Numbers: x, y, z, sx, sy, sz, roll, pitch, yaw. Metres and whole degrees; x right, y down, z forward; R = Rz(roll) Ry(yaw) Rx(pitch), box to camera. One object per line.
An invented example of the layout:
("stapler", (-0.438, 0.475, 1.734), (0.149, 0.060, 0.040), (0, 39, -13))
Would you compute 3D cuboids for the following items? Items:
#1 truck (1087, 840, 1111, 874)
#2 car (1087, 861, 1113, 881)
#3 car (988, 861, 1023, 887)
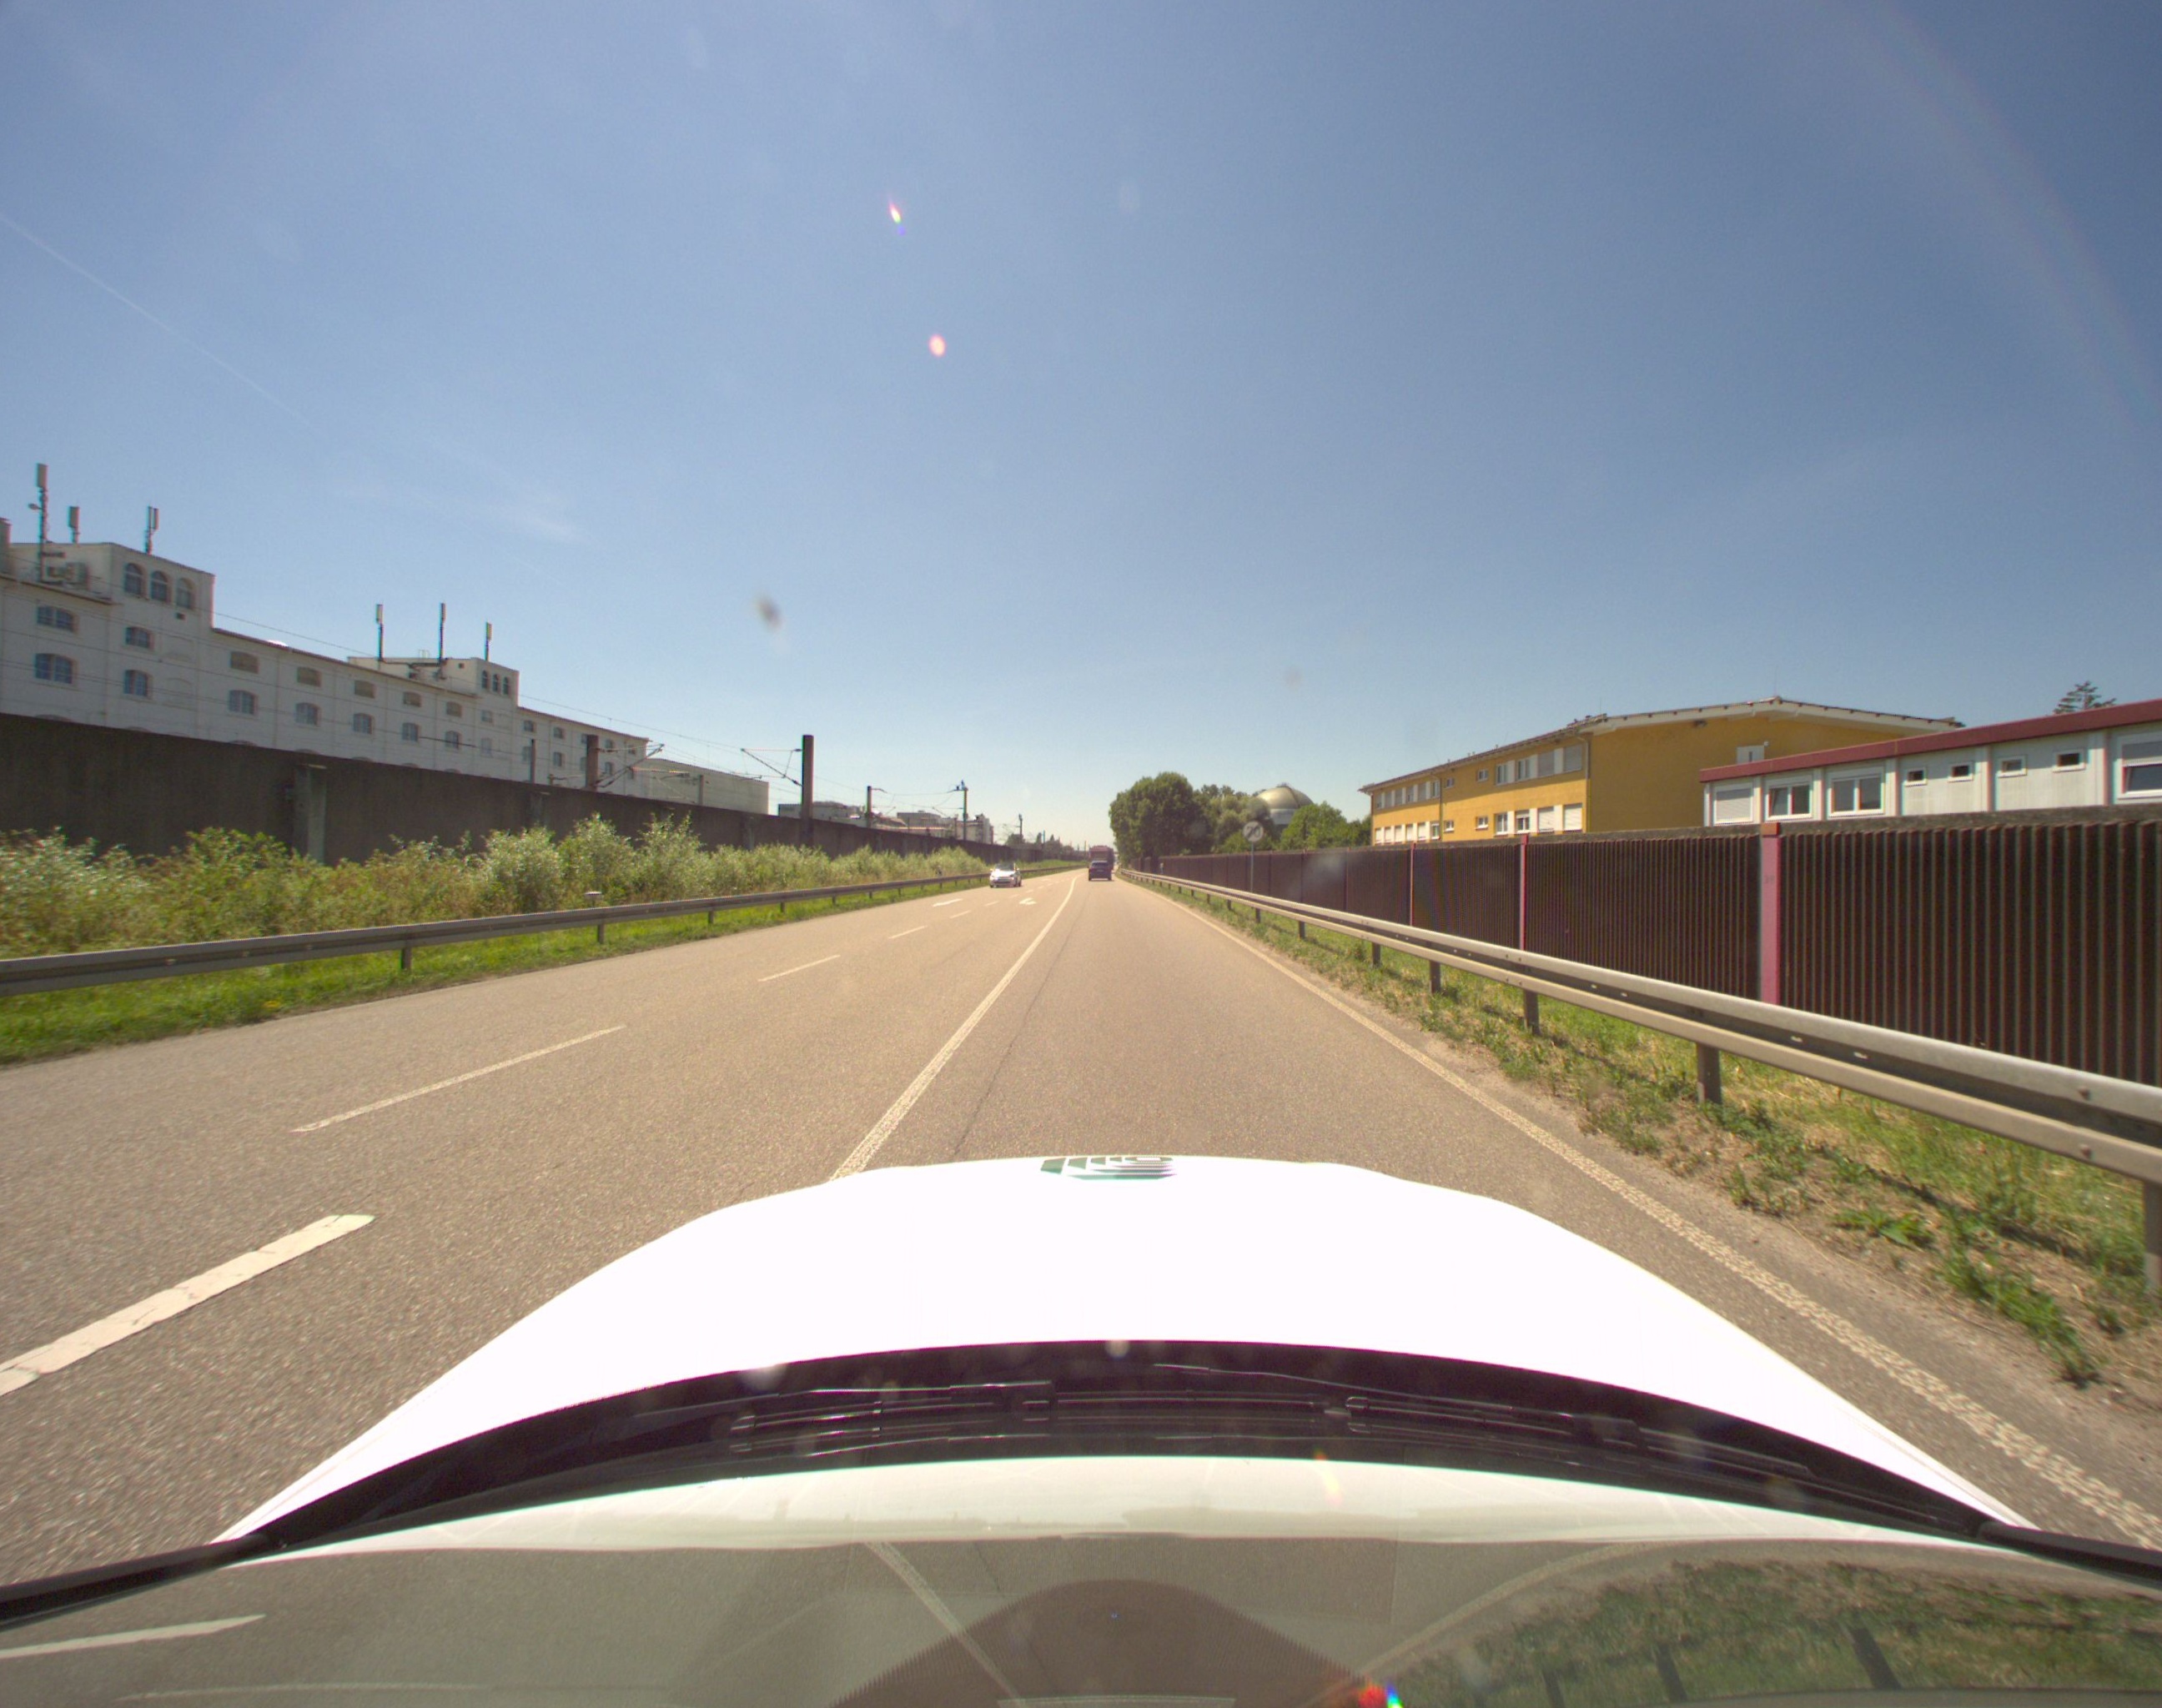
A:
("truck", (2.482, 0.536, 108.194), (2.984, 4.181, 11.810), (-1, -1, 2))
("car", (1.560, 1.372, 64.232), (1.986, 1.503, 4.001), (0, -2, 2))
("car", (-4.601, 1.212, 50.032), (1.666, 1.502, 3.722), (-1, -1, 1))
